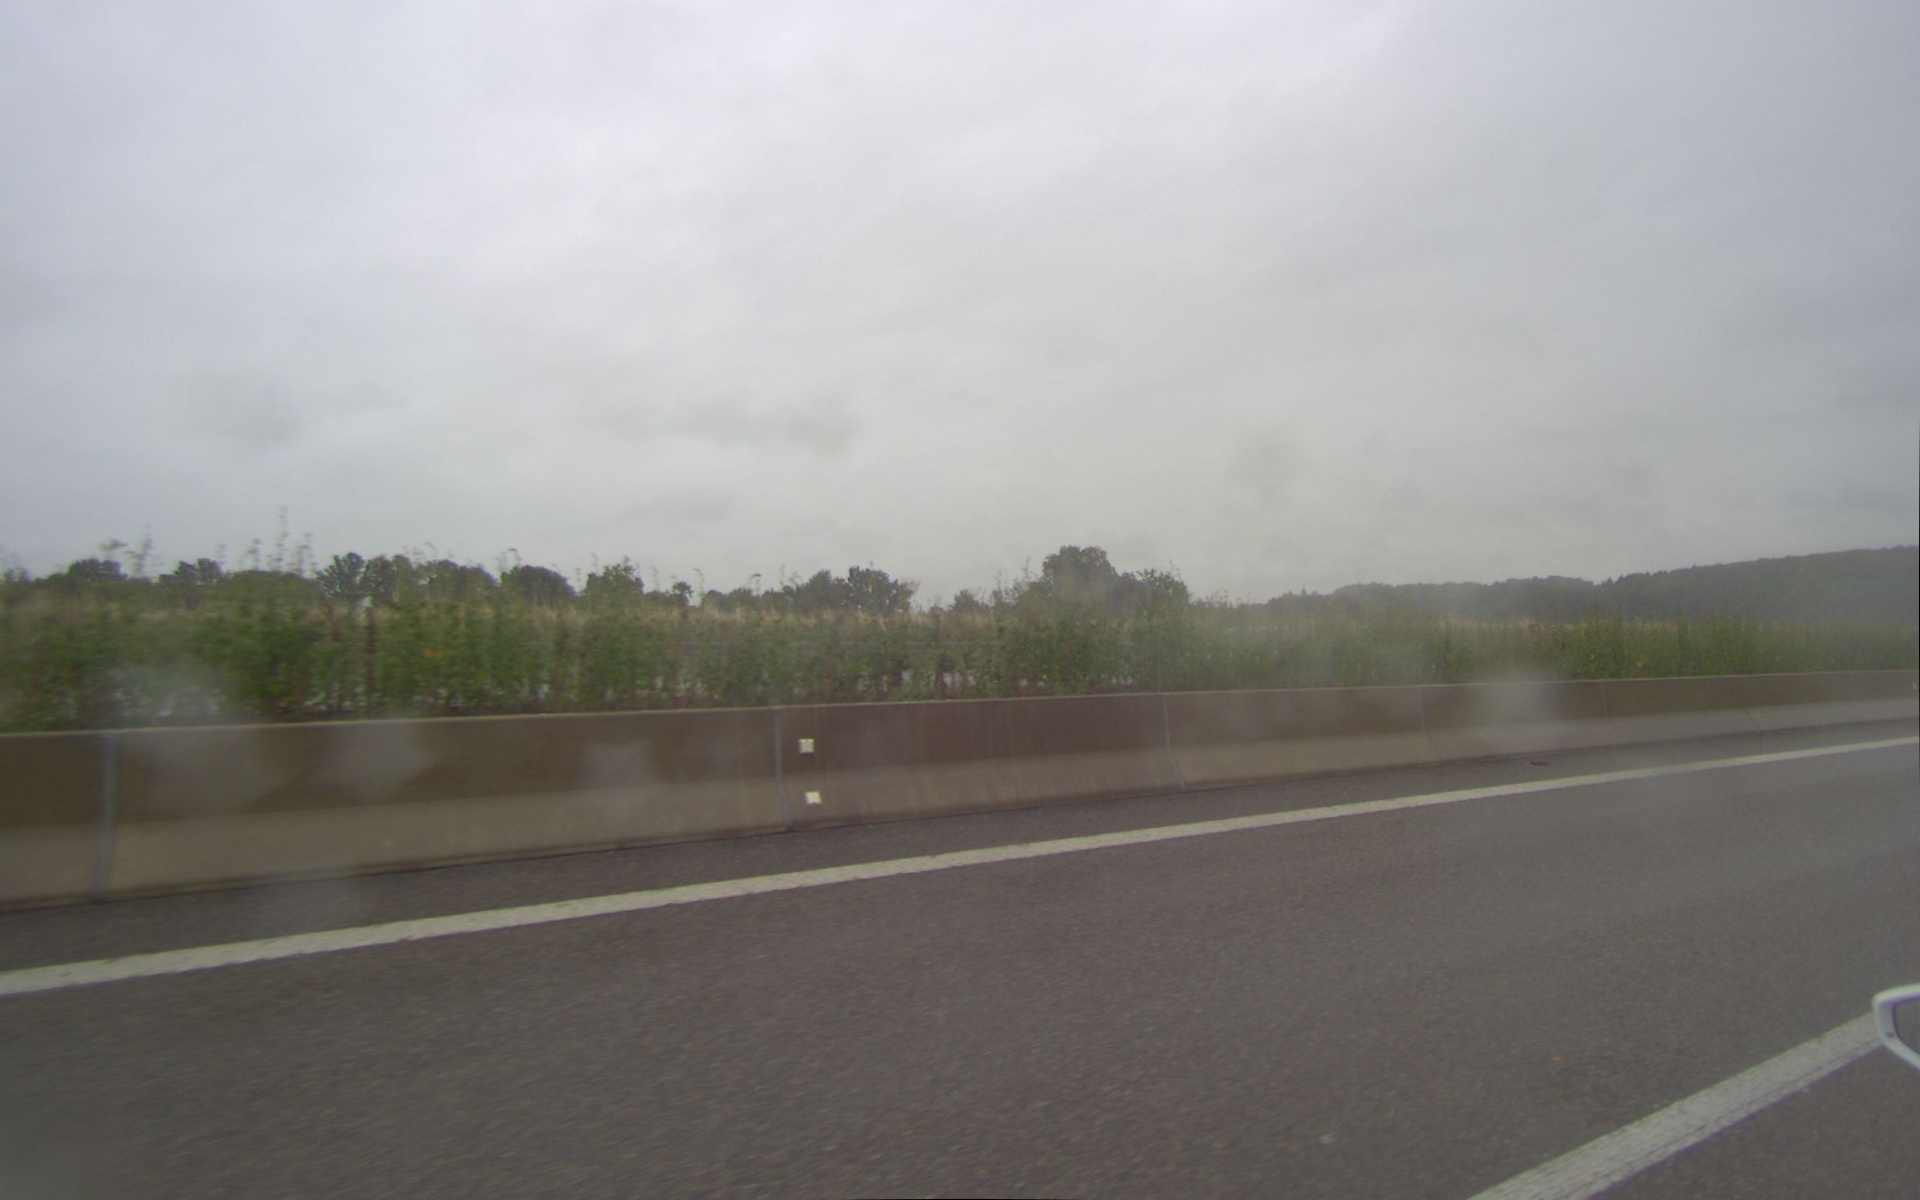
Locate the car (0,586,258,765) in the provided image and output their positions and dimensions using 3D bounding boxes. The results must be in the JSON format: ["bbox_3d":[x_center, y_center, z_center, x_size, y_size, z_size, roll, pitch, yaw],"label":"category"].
[{"bbox_3d":[-8.588,0.600,8.673,3.953,1.439,1.883,1,-1,-30],"label":"car"}]
